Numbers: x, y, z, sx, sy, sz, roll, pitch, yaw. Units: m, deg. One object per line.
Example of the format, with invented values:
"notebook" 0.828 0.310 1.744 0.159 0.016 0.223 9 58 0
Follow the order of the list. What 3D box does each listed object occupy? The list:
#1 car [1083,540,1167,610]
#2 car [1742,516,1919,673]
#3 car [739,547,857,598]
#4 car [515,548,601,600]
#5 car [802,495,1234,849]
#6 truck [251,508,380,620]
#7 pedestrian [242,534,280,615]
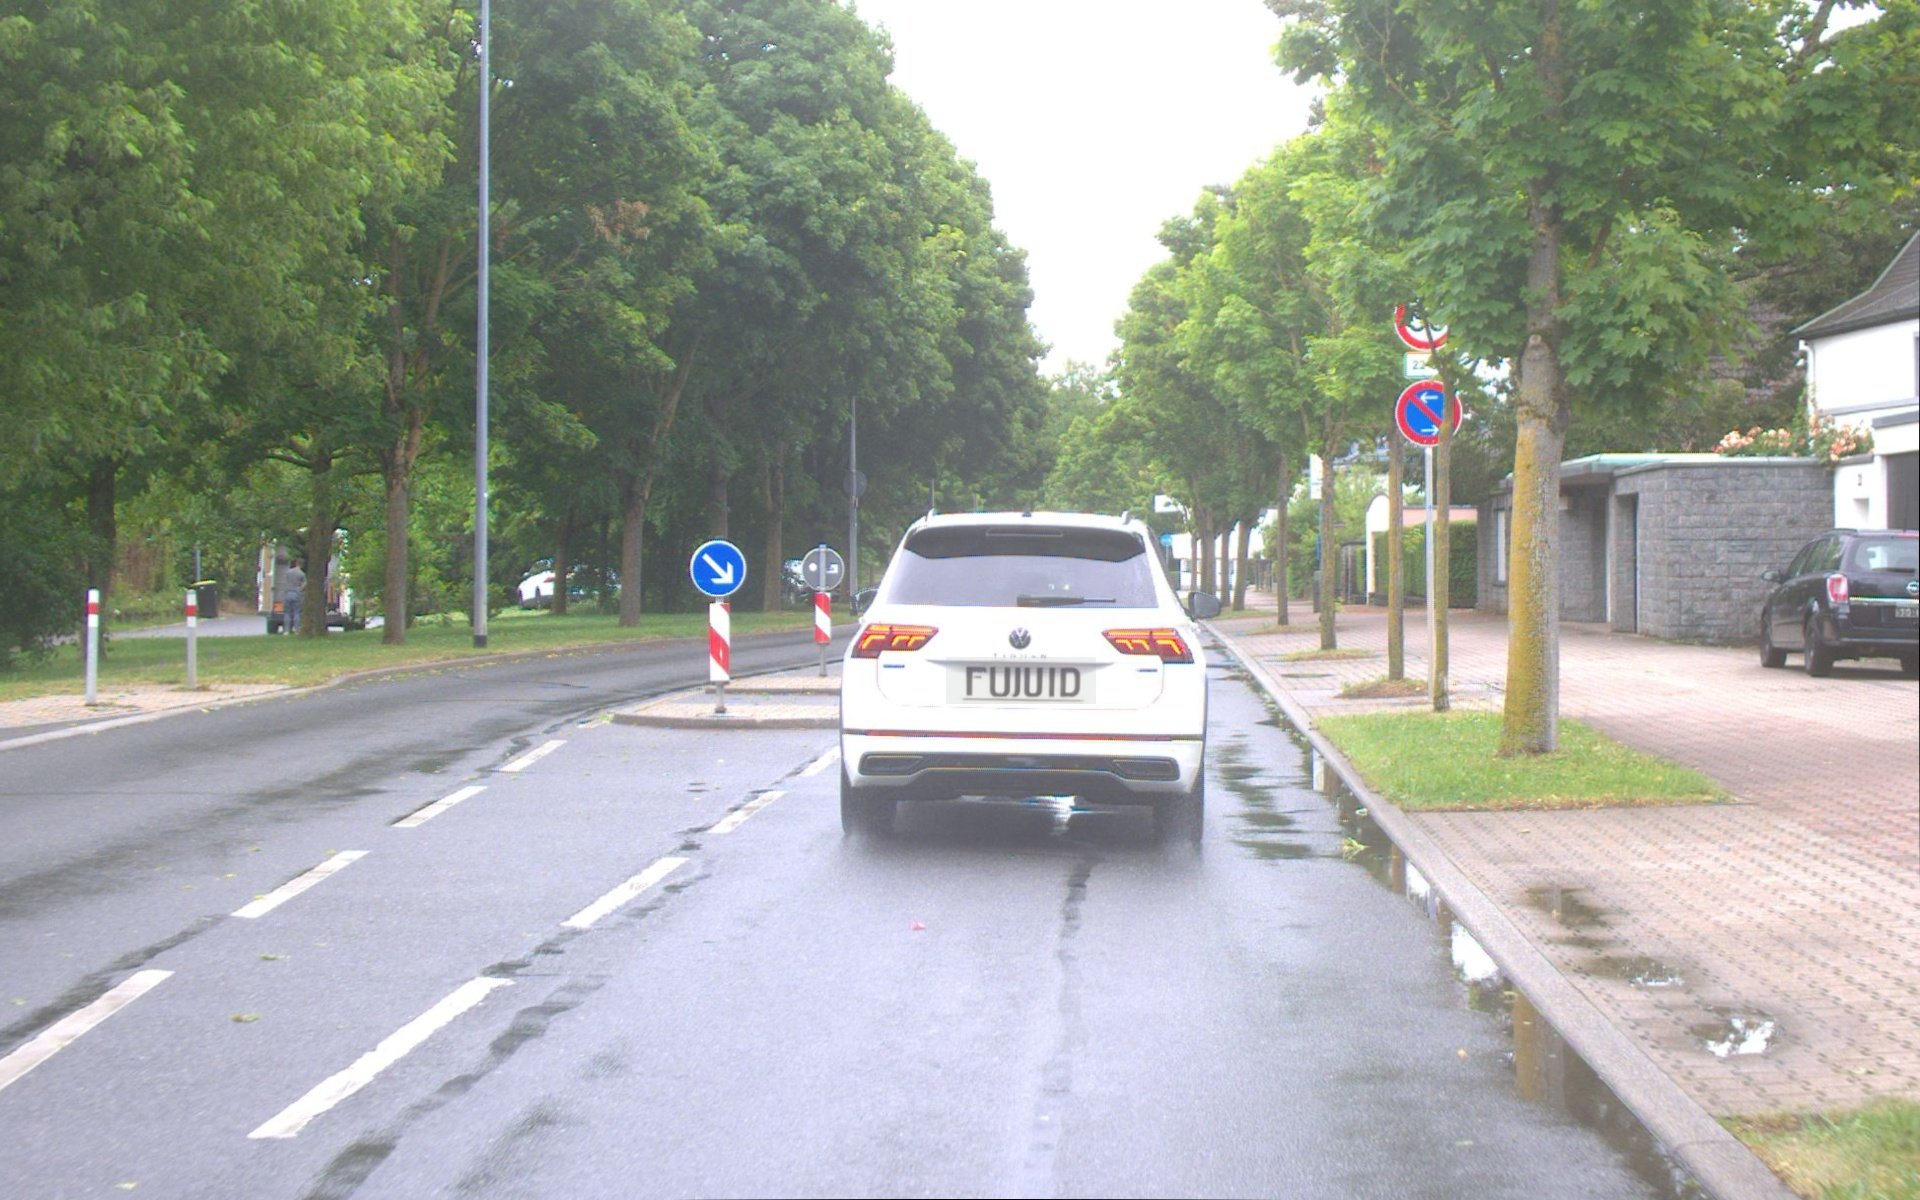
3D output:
"car" 3.812 -0.594 79.233 1.841 1.482 4.000 3 1 3
"car" 9.241 -0.097 35.101 1.771 1.493 4.543 -1 1 4
"car" -4.884 -0.834 103.195 1.841 1.477 4.000 -1 1 -31
"car" -11.838 -0.773 101.065 1.840 1.477 4.001 -1 1 -16
"car" 0.299 0.294 18.054 1.997 1.626 4.000 1 1 1
"truck" -15.390 -0.871 82.346 2.284 2.588 5.875 0 1 -3
"pedestrian" -16.052 -0.591 78.930 0.709 1.834 0.824 0 1 -2
